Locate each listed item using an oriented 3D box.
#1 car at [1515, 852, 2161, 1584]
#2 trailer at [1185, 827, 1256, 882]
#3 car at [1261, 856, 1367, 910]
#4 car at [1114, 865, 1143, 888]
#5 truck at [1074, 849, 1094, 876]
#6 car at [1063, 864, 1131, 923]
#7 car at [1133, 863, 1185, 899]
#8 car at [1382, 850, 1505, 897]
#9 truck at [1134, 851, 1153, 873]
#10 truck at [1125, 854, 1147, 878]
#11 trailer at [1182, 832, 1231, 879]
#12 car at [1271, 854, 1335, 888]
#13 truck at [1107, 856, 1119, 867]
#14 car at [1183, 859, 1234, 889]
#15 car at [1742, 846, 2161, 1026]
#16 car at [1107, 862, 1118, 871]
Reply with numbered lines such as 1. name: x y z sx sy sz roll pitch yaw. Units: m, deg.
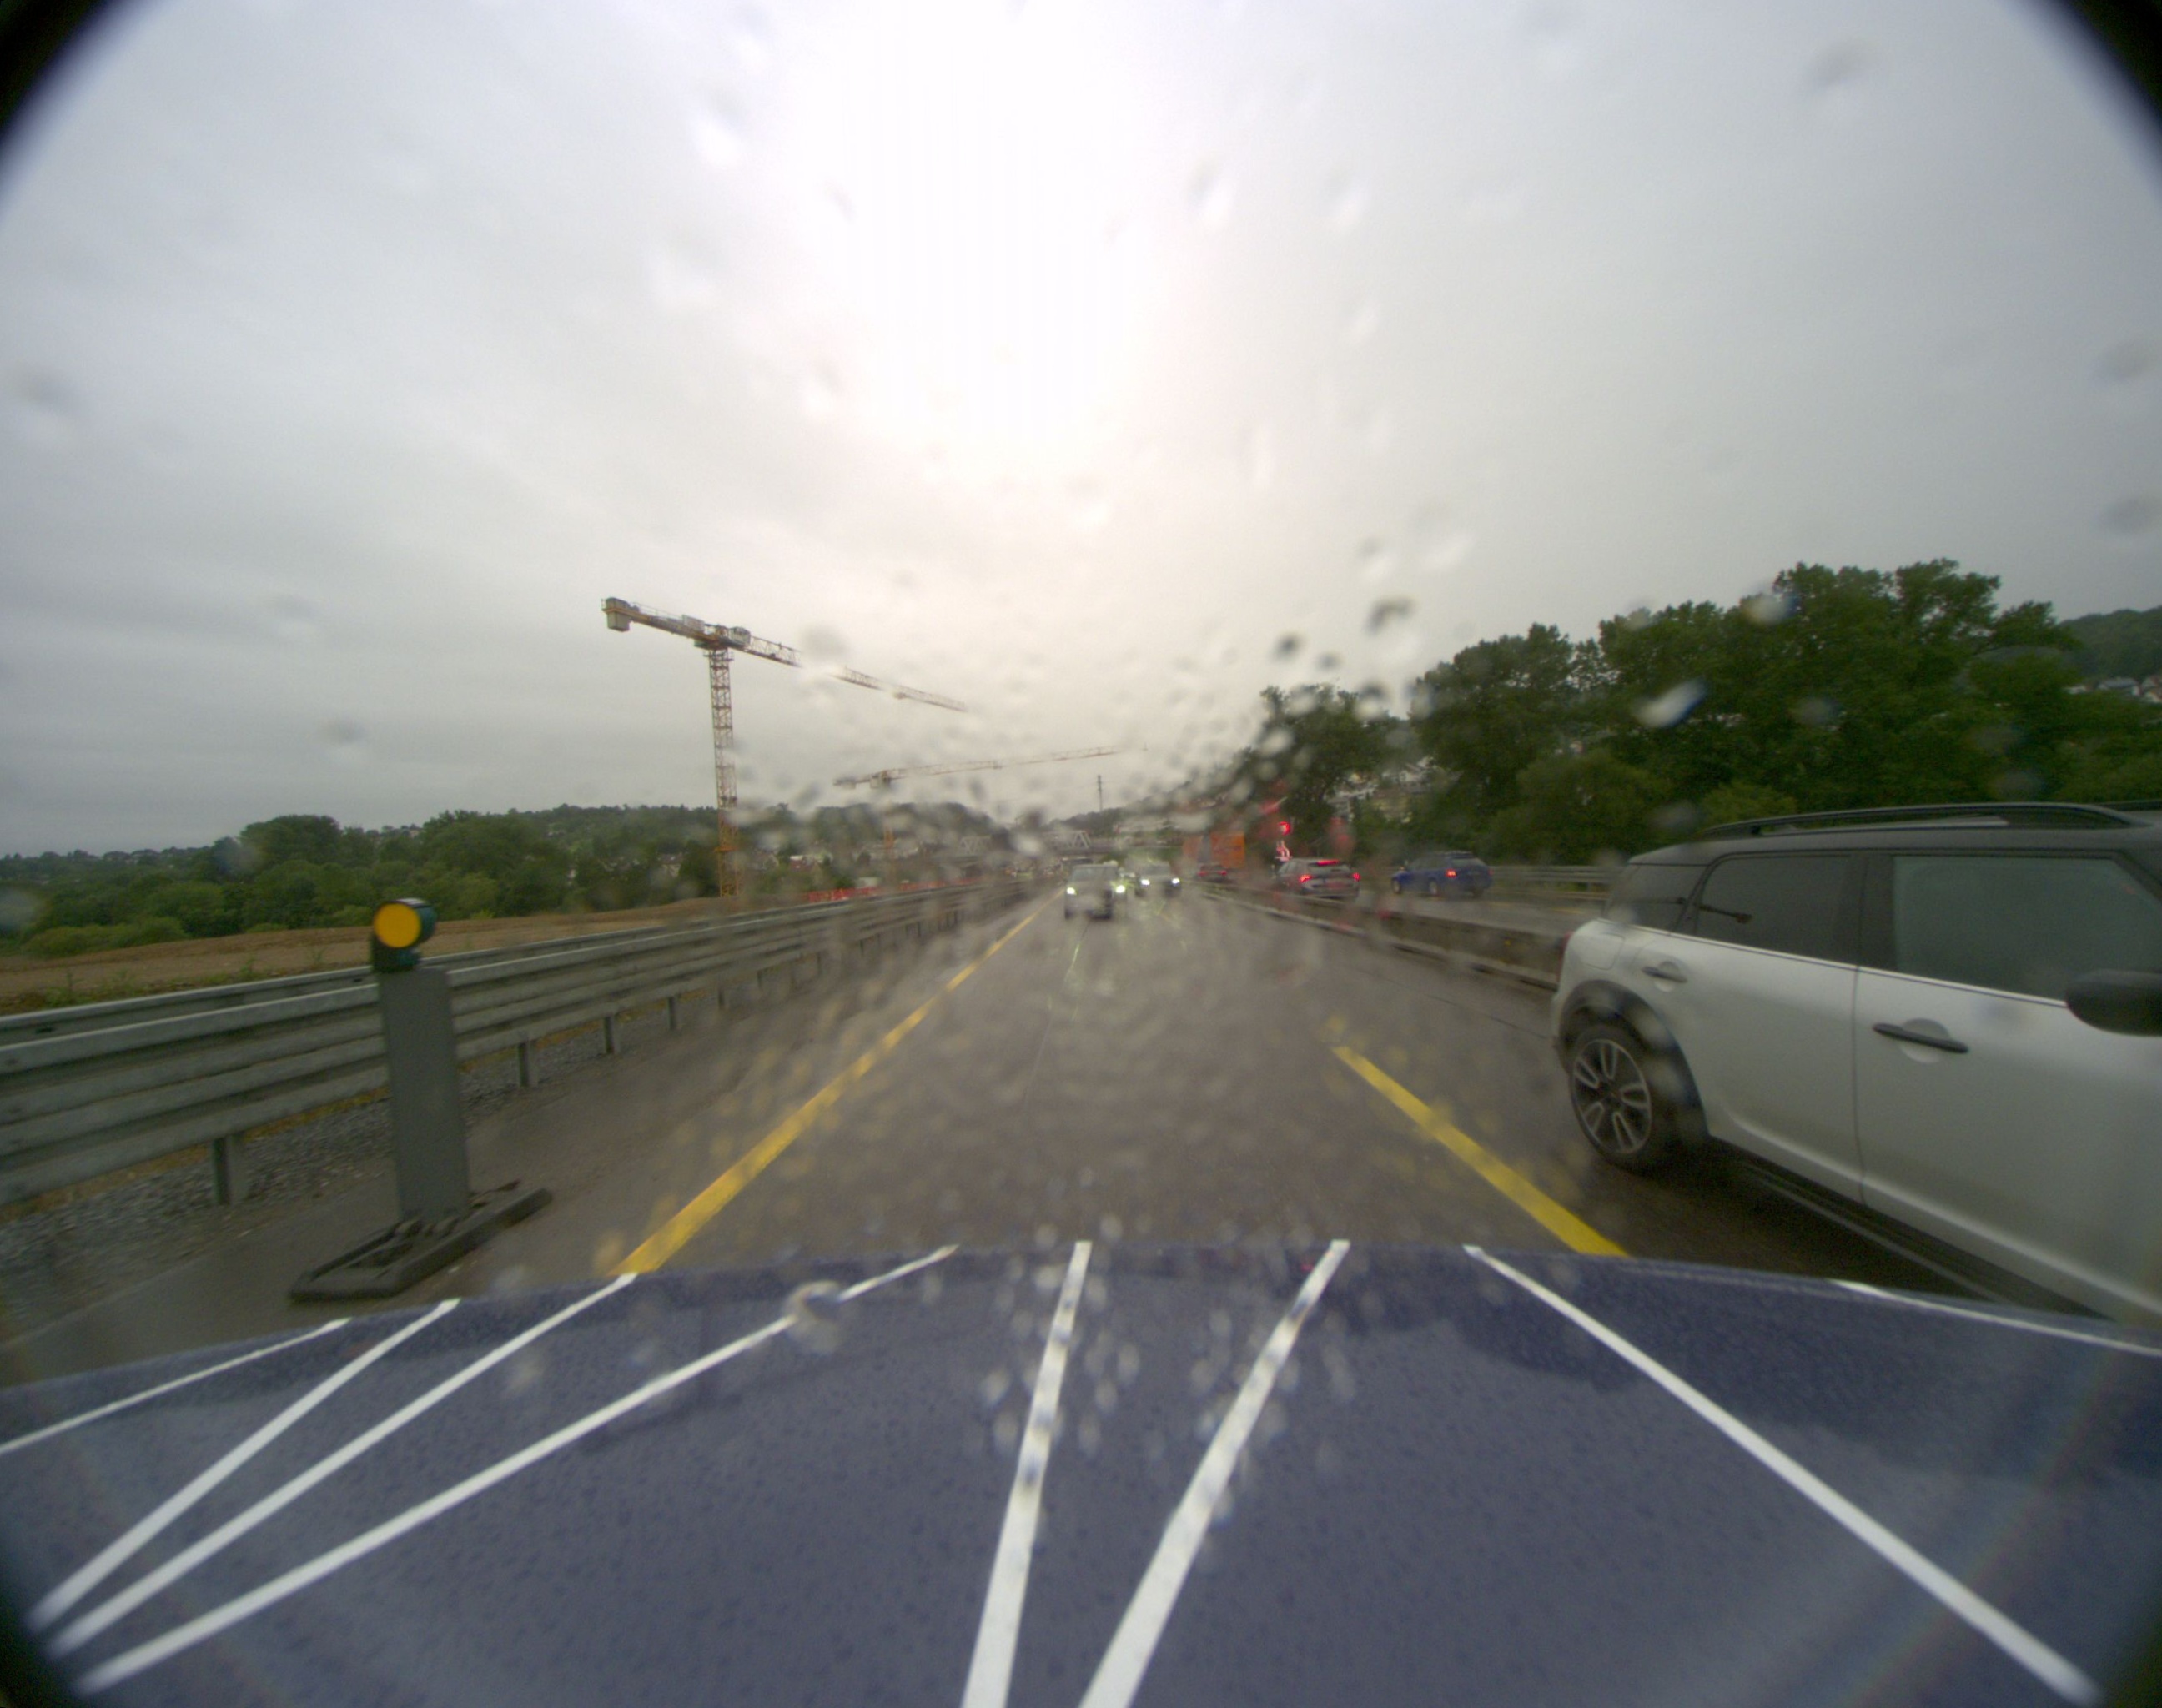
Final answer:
1. car: 3.313 0.814 2.036 1.820 1.591 4.308 -2 0 1
2. trailer: 11.087 0.109 62.242 3.285 3.885 13.700 -2 -1 1
3. car: 6.835 0.826 22.800 1.912 1.440 4.412 0 -1 1
4. car: 3.356 1.548 54.329 1.781 1.430 4.483 -2 0 1
5. truck: 0.442 1.131 103.885 2.576 3.450 6.626 -2 0 1
6. car: 0.449 1.106 22.623 1.781 1.514 4.141 -2 -1 1
7. car: 3.551 1.207 35.469 1.951 1.430 4.483 -2 0 1
8. car: 13.052 0.652 27.741 1.999 1.501 4.745 -2 0 -3
9. truck: 10.547 1.318 129.138 2.608 3.605 6.539 -2 0 1
10. truck: 7.371 1.563 102.402 2.413 2.976 6.539 -2 0 1
11. trailer: 11.166 0.198 68.462 3.278 3.895 6.352 -2 -1 1
12. car: 10.686 0.765 36.814 1.822 1.501 4.306 -2 0 1
13. truck: 8.481 1.962 199.937 2.800 2.769 5.497 -2 0 0
14. car: 7.161 1.089 43.163 1.978 1.501 4.745 -2 0 -1
15. car: 9.922 0.714 8.318 1.825 1.487 4.000 -2 -1 -1
16. car: 6.765 2.719 162.949 2.165 2.001 4.479 0 -1 1
